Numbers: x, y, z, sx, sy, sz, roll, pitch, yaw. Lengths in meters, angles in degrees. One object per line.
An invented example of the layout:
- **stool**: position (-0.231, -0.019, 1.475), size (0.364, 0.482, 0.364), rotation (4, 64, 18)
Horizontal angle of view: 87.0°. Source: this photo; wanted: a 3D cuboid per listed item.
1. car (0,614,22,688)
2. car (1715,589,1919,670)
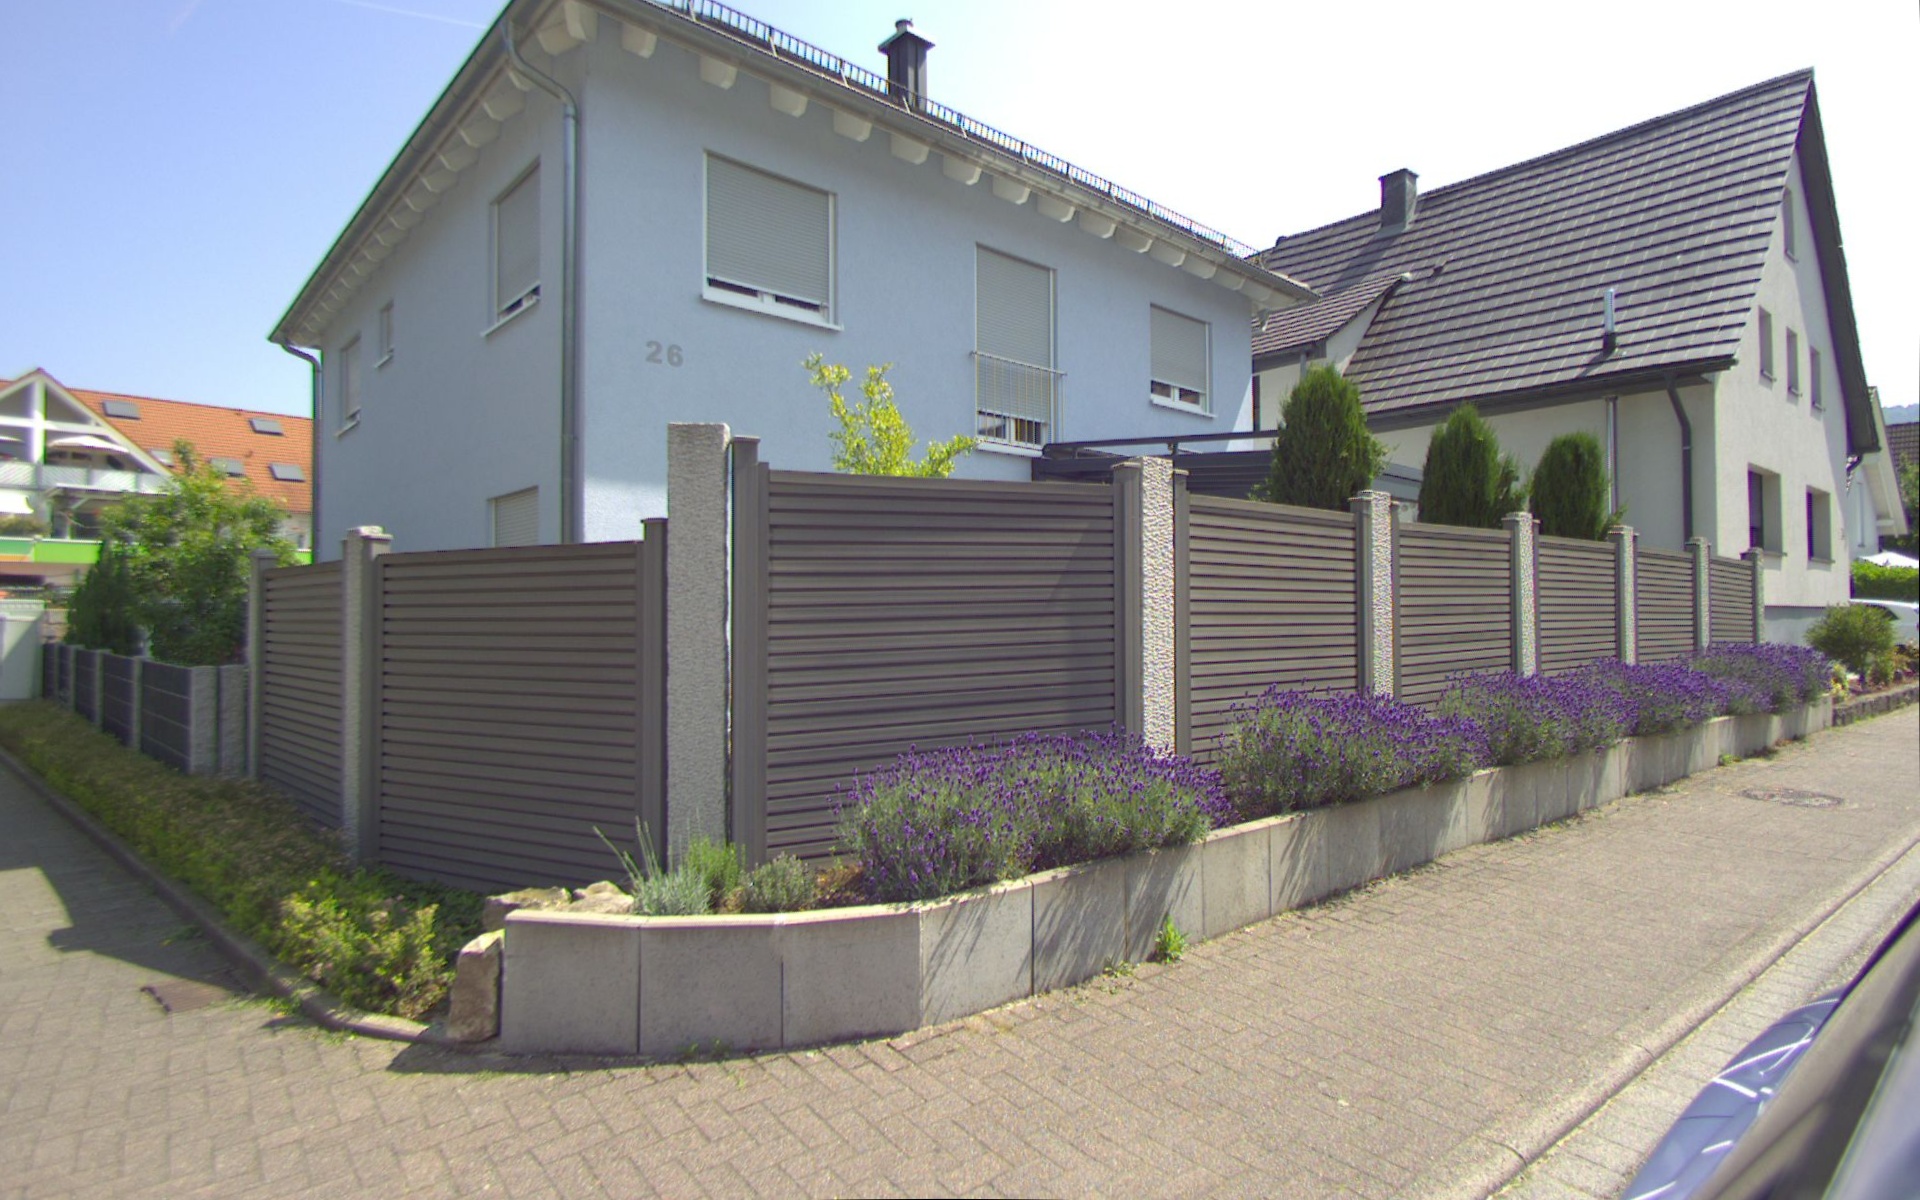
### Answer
- **car**: position (-20.227, 1.043, 19.794), size (1.669, 1.521, 4.102), rotation (1, -1, -27)
- **car**: position (17.955, 0.563, 20.780), size (1.735, 1.493, 3.663), rotation (1, 0, -42)
